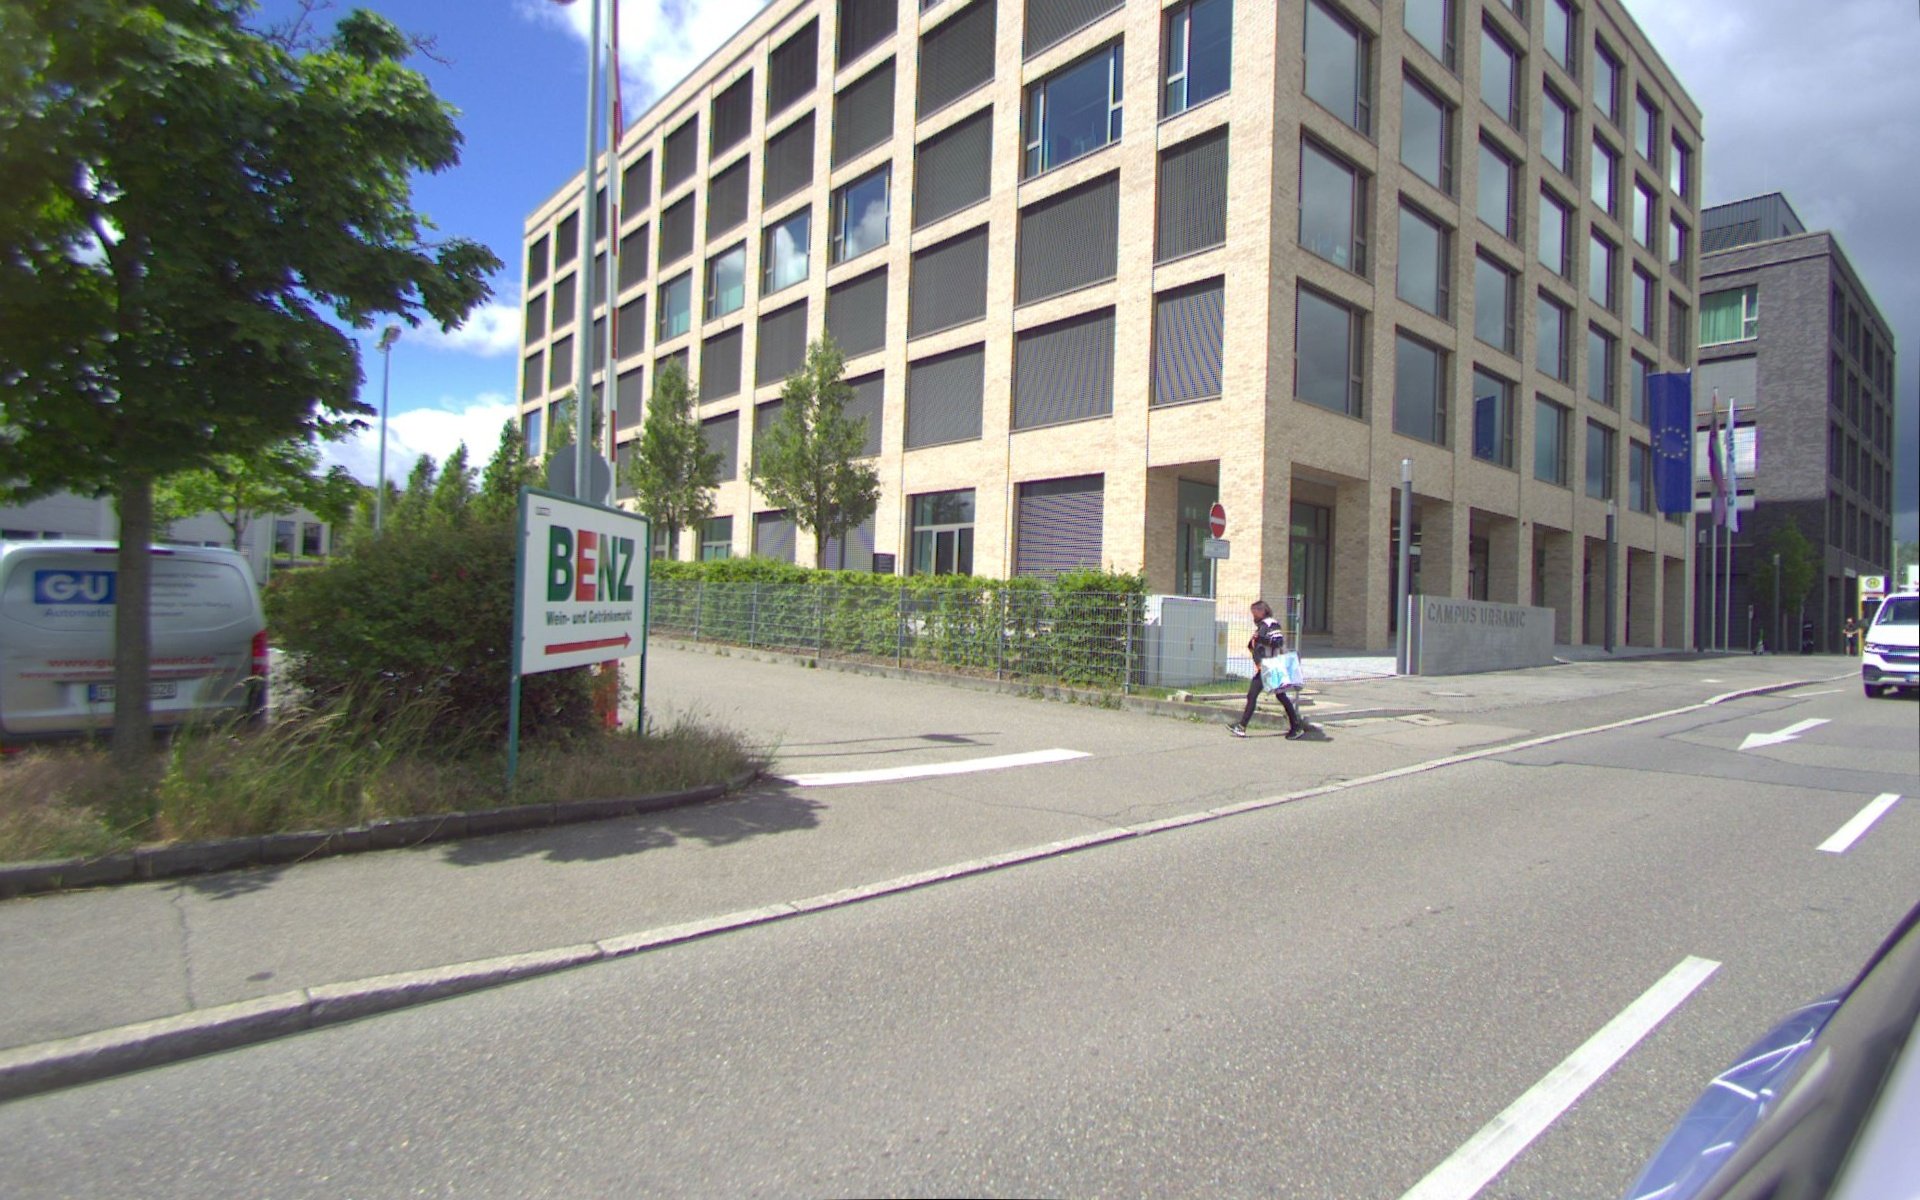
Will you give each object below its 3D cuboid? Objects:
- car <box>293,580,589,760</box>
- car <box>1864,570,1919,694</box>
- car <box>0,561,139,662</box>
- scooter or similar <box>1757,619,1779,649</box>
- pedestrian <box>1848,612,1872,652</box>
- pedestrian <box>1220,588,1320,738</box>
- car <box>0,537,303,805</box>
[{"bbox_3d":[-5.921,0.582,11.243,1.965,1.500,4.441,0,2,-40],"label":"car"},{"bbox_3d":[18.136,0.564,18.285,4.130,2.116,1.936,0,1,-37],"label":"car"},{"bbox_3d":[-15.625,0.133,17.537,1.856,1.510,4.438,2,1,-43],"label":"car"},{"bbox_3d":[32.569,1.368,40.770,1.379,1.167,0.428,2,-1,-41],"label":"scooter or similar"},{"bbox_3d":[40.265,1.435,45.260,0.945,1.750,0.684,3,-2,-41],"label":"pedestrian"},{"bbox_3d":[3.413,0.666,11.138,0.841,1.555,0.688,2,-1,-41],"label":"pedestrian"},{"bbox_3d":[-7.878,0.401,9.256,4.707,1.871,2.057,3,2,43],"label":"car"}]
